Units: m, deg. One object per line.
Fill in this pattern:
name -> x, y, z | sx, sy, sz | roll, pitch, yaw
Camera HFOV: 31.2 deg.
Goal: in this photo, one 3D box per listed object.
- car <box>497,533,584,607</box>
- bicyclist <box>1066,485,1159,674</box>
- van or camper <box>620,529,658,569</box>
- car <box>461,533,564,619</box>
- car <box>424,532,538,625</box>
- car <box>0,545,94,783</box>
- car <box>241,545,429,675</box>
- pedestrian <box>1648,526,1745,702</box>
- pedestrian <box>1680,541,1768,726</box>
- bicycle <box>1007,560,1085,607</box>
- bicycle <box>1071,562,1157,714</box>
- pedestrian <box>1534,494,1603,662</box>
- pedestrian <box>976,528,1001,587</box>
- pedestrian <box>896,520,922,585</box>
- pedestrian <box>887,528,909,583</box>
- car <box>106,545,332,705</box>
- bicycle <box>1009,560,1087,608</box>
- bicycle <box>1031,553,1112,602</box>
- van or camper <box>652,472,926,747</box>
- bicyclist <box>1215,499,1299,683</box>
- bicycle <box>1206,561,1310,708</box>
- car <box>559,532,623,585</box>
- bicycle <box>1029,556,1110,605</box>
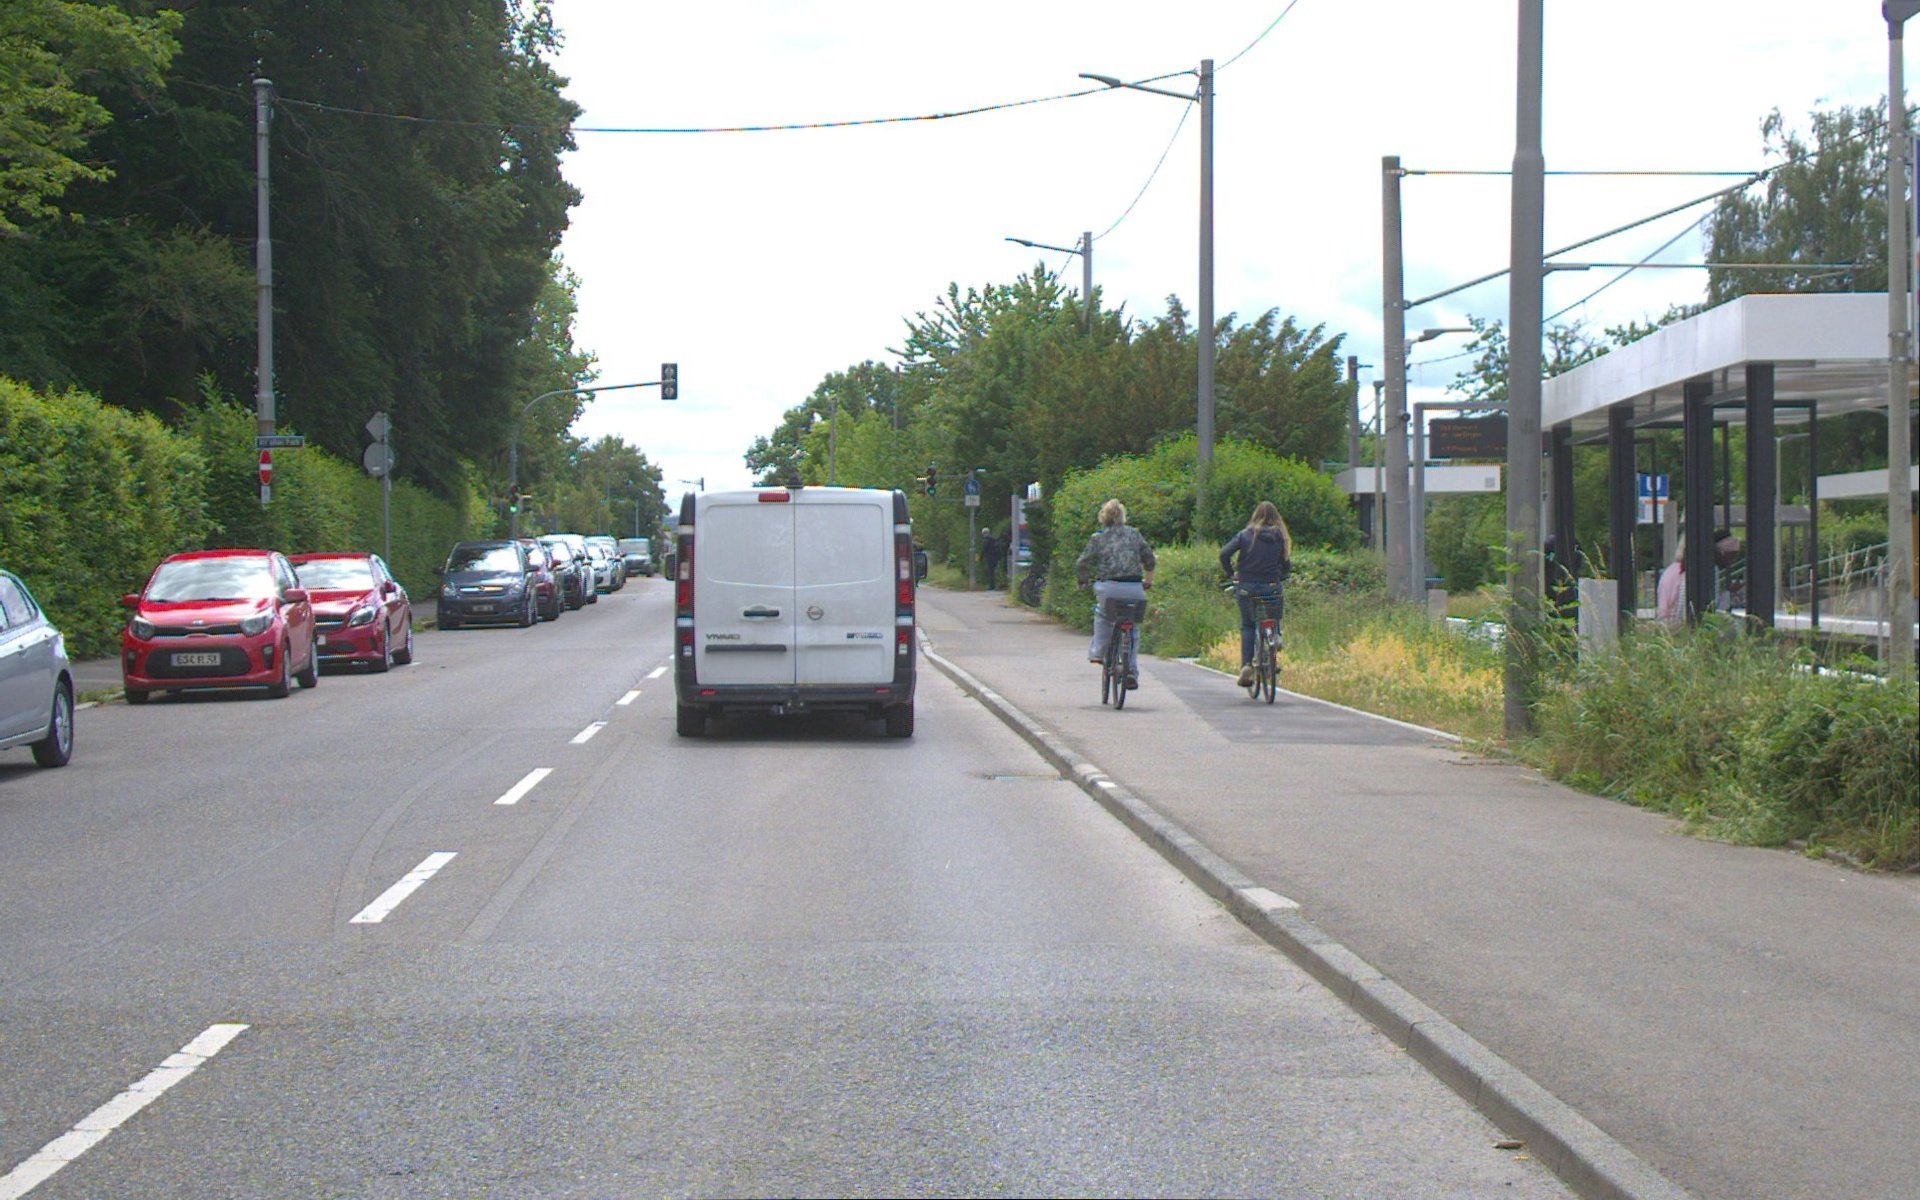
car -> -9.710, -0.713, 79.798 | 1.761, 1.651, 3.816 | -1, 1, -4
bicyclist -> 1.315, -0.182, 29.752 | 0.717, 1.606, 0.757 | 0, 1, -3
van or camper -> -18.617, -2.944, 199.239 | 2.004, 2.253, 4.613 | -1, 1, -7
car -> -9.012, -0.521, 69.477 | 1.761, 1.651, 4.062 | -1, 1, -4
car -> -8.813, -0.428, 63.500 | 1.761, 1.620, 4.186 | -1, 1, -4
car -> -7.003, 0.426, 22.443 | 1.736, 1.499, 3.963 | -2, 1, -1
car -> -7.604, 0.084, 42.148 | 1.761, 1.466, 4.186 | -1, 1, -4
pedestrian -> 5.835, 0.103, 27.274 | 0.582, 1.375, 0.740 | 0, 1, -1
pedestrian -> 5.586, 0.240, 25.159 | 0.485, 1.339, 0.396 | 0, 1, -14
bicycle -> 1.927, -0.365, 77.010 | 1.698, 1.027, 0.491 | 0, 1, -3
bicycle -> 1.317, 0.306, 29.769 | 0.546, 1.242, 2.055 | 0, 1, -3
pedestrian -> 6.314, -0.235, 35.669 | 0.638, 1.719, 0.654 | 1, 1, 14
pedestrian -> 0.825, -1.216, 98.616 | 0.674, 1.690, 0.522 | 0, 1, 2
pedestrian -> -1.454, -1.341, 97.553 | 0.680, 1.834, 0.645 | 1, 1, 4
pedestrian -> -2.076, -1.489, 114.816 | 0.702, 1.844, 0.666 | 0, 1, -2
car -> -7.523, 0.212, 35.180 | 1.588, 1.499, 3.515 | -1, 1, -1
bicycle -> 1.960, -0.358, 76.471 | 1.698, 1.027, 0.491 | 0, 1, -3
bicycle -> 2.395, -0.481, 73.924 | 1.698, 1.027, 0.491 | 0, 1, -3
van or camper -> -1.357, 0.047, 27.890 | 1.993, 2.007, 4.446 | 1, 1, -2
bicyclist -> 2.682, -0.090, 31.099 | 0.639, 1.644, 0.819 | 0, 1, -3
bicycle -> 2.687, 0.289, 31.247 | 0.618, 1.242, 2.396 | 0, 1, -3
car -> -11.335, -1.292, 105.836 | 1.761, 1.551, 3.816 | -1, 1, -4
bicycle -> 2.366, -0.427, 74.481 | 1.698, 1.027, 0.491 | 0, 1, -3
